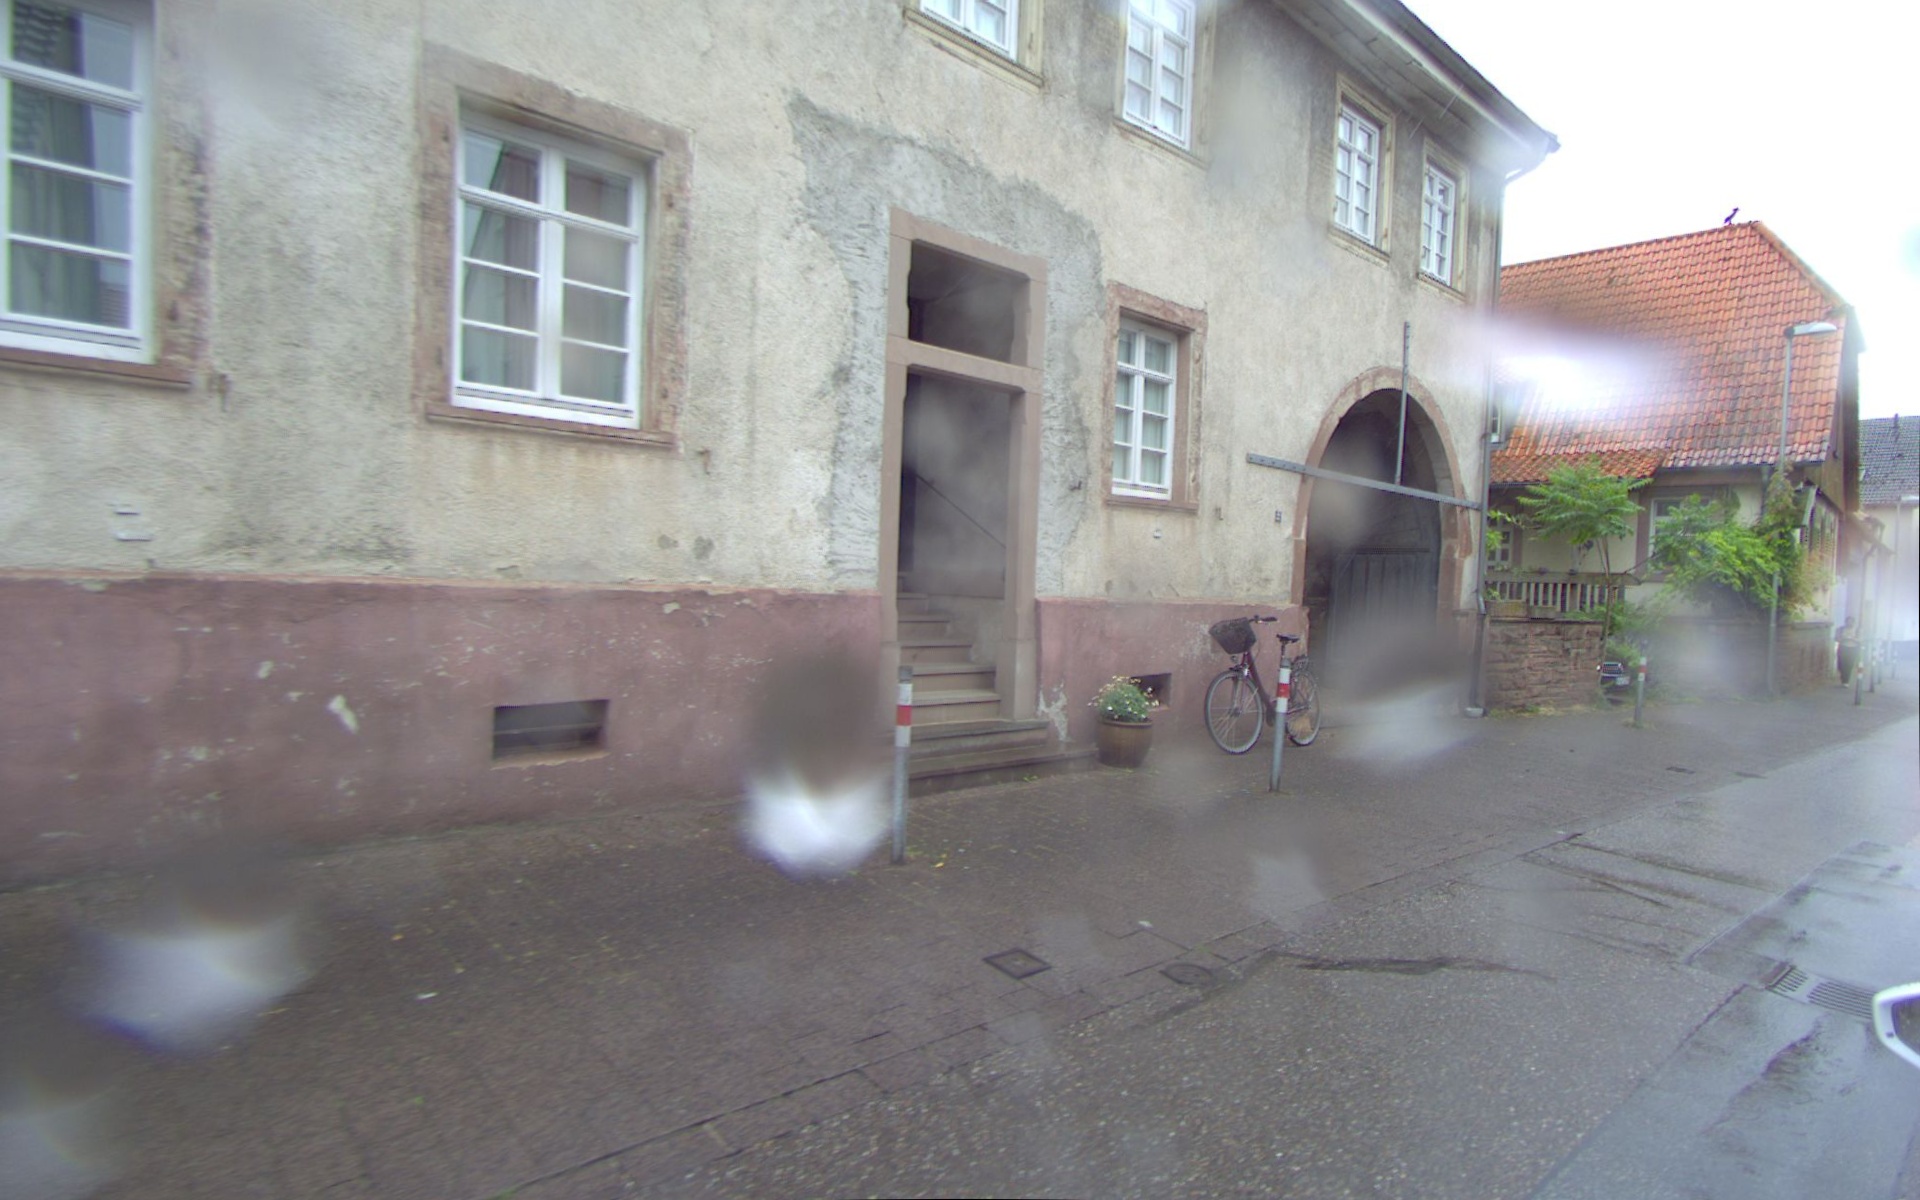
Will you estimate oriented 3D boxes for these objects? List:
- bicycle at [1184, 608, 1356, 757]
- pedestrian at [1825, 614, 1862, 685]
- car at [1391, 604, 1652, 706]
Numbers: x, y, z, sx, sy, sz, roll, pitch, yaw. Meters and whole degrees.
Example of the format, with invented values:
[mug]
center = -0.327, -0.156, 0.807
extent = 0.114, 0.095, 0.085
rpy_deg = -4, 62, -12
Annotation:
[bicycle]
center = 2.802, 0.708, 8.968
extent = 1.820, 1.196, 0.479
rpy_deg = 2, 2, -39
[pedestrian]
center = 19.836, 1.099, 22.563
extent = 0.561, 1.551, 0.566
rpy_deg = 2, 0, 40
[car]
center = 9.429, 0.858, 17.082
extent = 1.580, 1.394, 3.500
rpy_deg = 1, 1, -38
